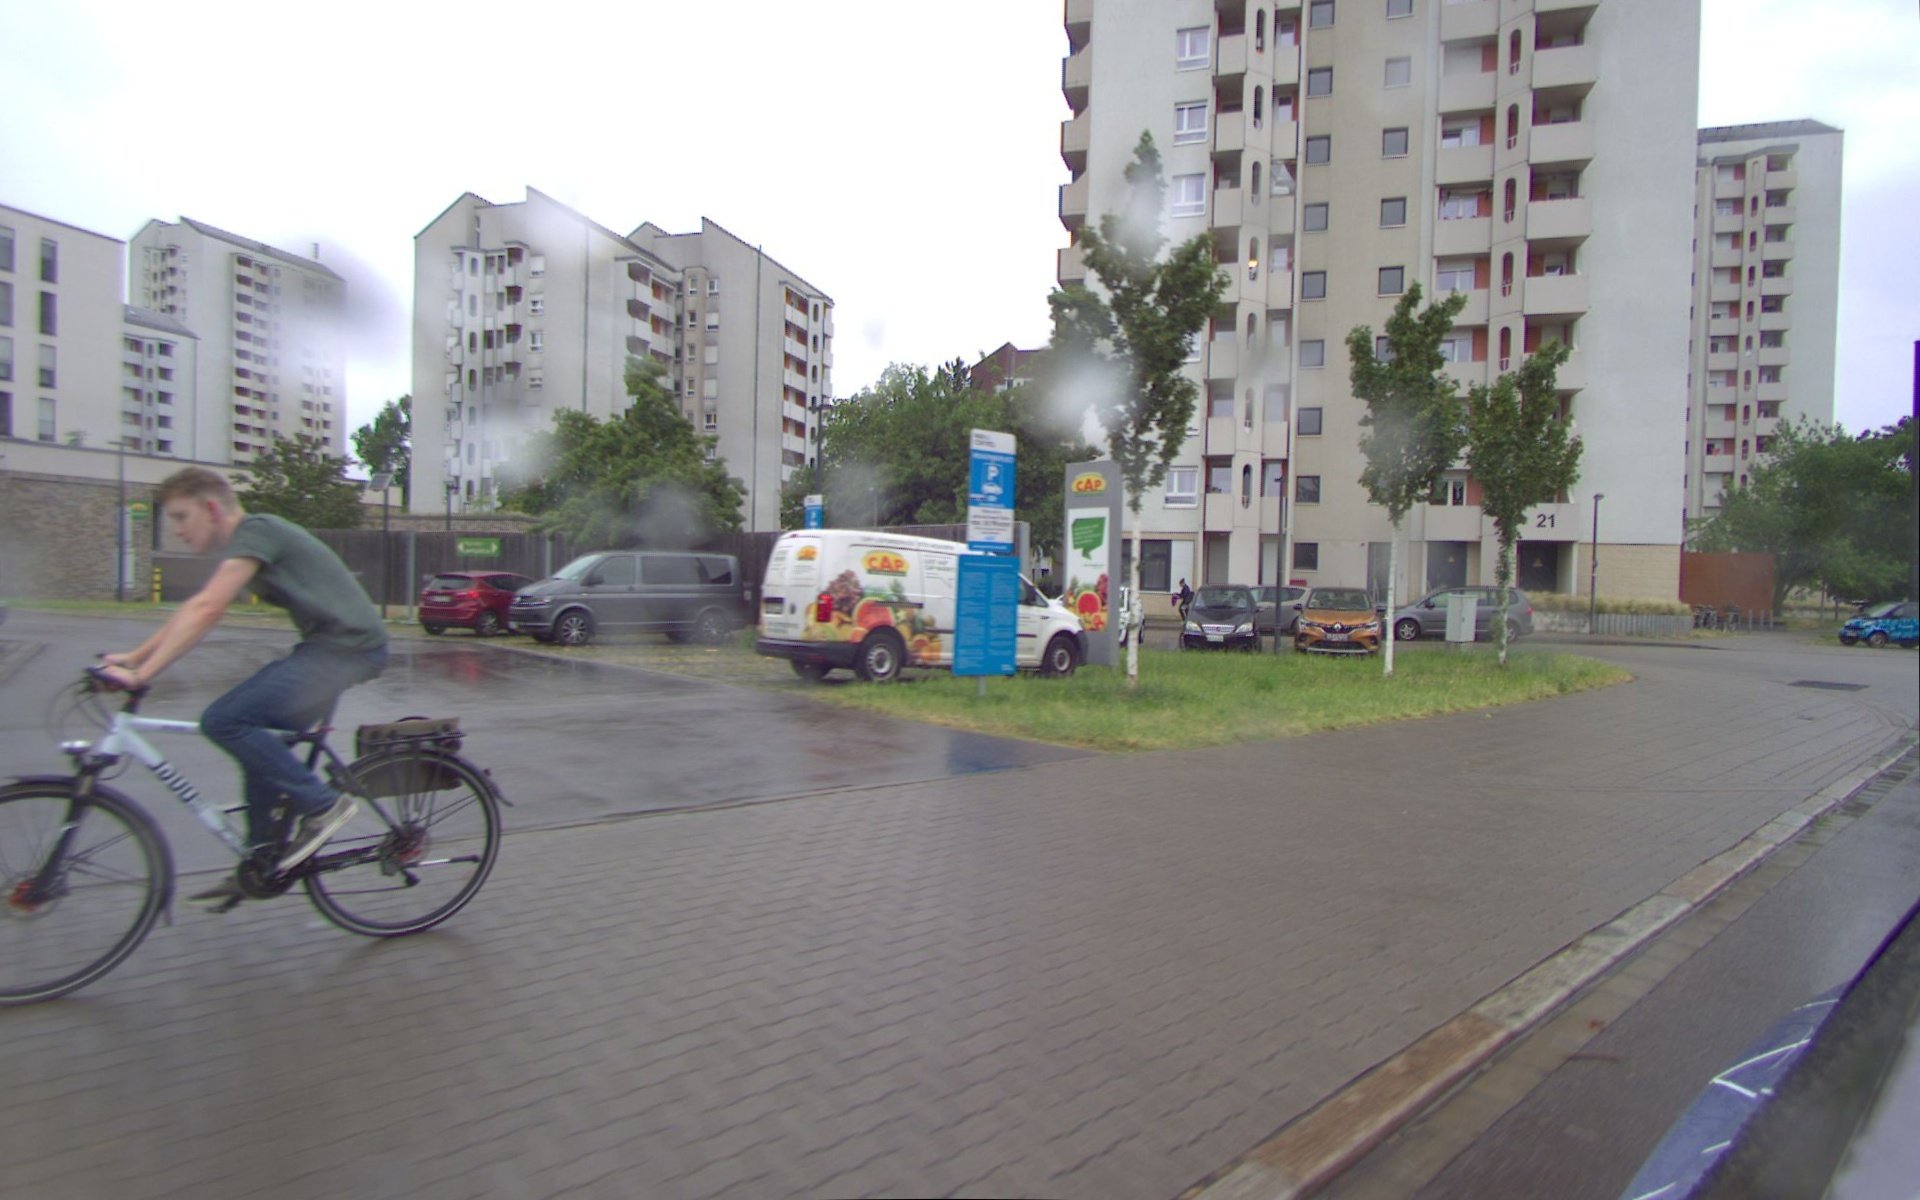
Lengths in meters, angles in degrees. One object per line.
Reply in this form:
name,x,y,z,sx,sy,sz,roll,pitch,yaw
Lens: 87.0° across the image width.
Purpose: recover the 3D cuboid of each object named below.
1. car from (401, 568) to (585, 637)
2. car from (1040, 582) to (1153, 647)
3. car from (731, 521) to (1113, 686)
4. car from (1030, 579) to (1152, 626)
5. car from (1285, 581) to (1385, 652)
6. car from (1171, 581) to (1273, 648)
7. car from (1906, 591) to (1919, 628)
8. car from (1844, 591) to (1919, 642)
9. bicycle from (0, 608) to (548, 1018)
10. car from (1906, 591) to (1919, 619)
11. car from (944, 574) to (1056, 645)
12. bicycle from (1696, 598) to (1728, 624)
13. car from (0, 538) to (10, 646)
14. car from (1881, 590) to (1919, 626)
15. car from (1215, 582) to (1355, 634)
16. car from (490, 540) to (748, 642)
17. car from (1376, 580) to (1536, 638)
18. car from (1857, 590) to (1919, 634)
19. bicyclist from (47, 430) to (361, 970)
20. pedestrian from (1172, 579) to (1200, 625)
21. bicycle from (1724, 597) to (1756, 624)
car,-10.754,0.006,23.640,1.750,1.460,3.979,0,1,17
car,3.485,0.281,25.160,1.976,1.459,3.973,0,1,21
car,-0.363,0.053,13.351,4.808,1.806,1.968,1,0,-39
car,4.381,0.071,33.709,3.747,1.493,1.804,1,0,19
car,8.570,0.302,23.169,1.976,1.459,3.973,0,1,21
car,6.375,0.275,24.339,1.976,1.459,3.973,0,1,21
car,47.412,0.613,47.395,4.121,1.692,1.679,4,2,12
car,31.224,0.549,33.438,2.523,1.567,1.599,2,2,9
bicycle,-2.471,0.607,3.480,0.536,1.106,1.919,1,1,42
car,53.477,0.447,53.706,4.398,1.445,1.677,5,2,15
car,1.108,0.213,25.705,1.941,1.607,4.343,1,0,15
bicycle,30.585,0.431,41.153,2.023,1.018,0.662,-1,1,-42
car,-15.430,-0.141,13.155,4.284,1.554,1.968,1,0,-39
car,48.427,0.525,49.621,4.391,1.692,1.808,4,2,11
car,10.142,0.236,31.724,4.059,1.553,1.804,1,0,19
car,-7.021,-0.149,21.118,4.692,1.893,1.968,1,0,-39
car,14.657,0.242,30.145,4.059,1.637,1.804,1,0,19
car,38.137,0.575,39.624,4.117,1.566,1.761,4,2,9
bicyclist,-2.535,0.284,3.418,0.533,1.579,0.761,1,1,42
pedestrian,7.719,0.060,34.569,0.827,1.536,1.088,0,1,19
bicycle,31.146,0.422,40.400,2.023,1.018,0.662,-1,1,-42
